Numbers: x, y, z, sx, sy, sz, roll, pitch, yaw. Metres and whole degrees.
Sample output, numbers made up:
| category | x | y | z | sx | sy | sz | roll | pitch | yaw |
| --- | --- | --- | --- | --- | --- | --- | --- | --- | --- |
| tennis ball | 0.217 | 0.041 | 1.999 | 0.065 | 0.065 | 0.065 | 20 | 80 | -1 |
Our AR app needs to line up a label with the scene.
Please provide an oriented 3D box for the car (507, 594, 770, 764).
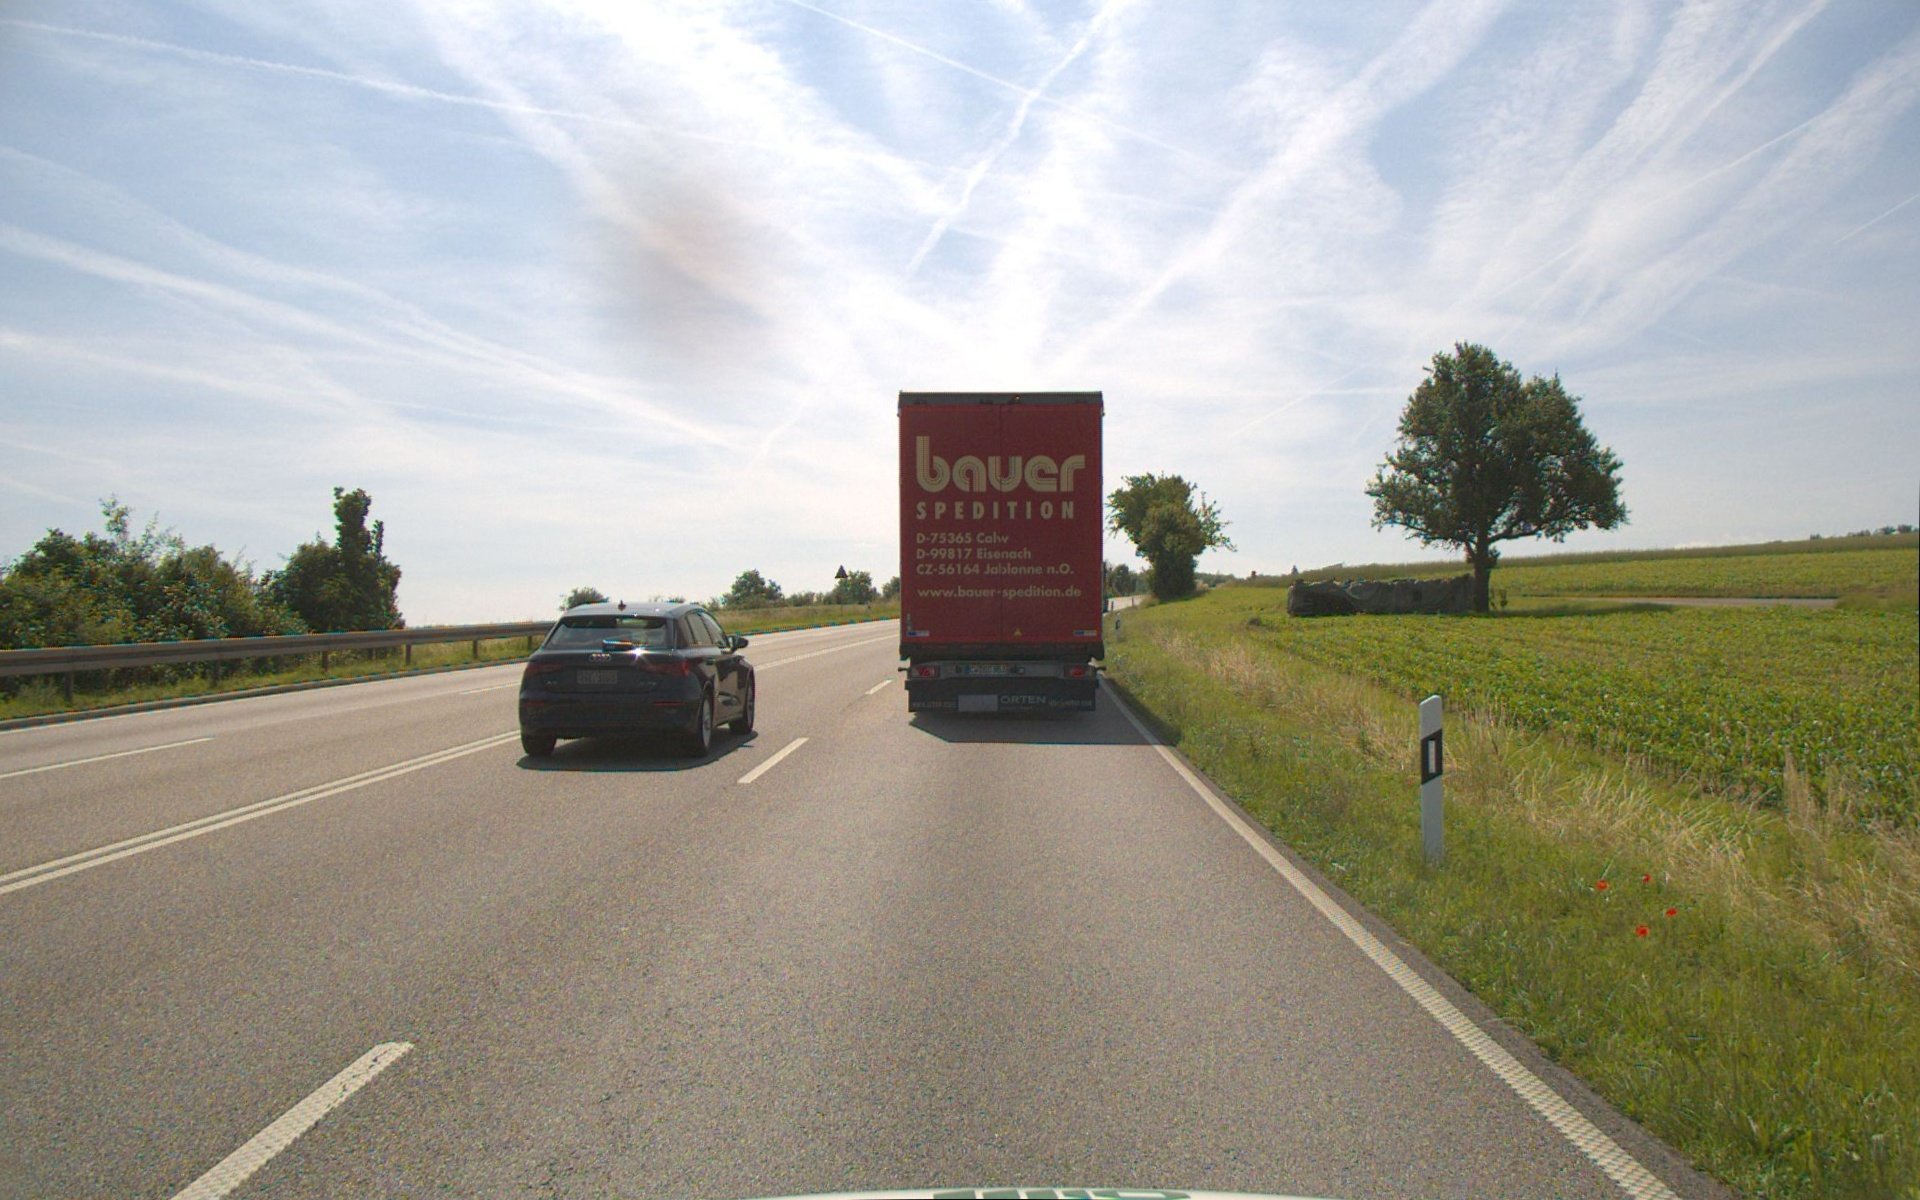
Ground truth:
| category | x | y | z | sx | sy | sz | roll | pitch | yaw |
| --- | --- | --- | --- | --- | --- | --- | --- | --- | --- |
| car | -3.122 | 0.694 | 17.037 | 1.670 | 1.498 | 4.812 | 0 | 0 | 1 |

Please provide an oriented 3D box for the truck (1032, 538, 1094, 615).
| category | x | y | z | sx | sy | sz | roll | pitch | yaw |
| --- | --- | --- | --- | --- | --- | --- | --- | --- | --- |
| truck | 6.008 | -1.274 | 94.031 | 2.982 | 3.978 | 15.625 | -1 | 0 | 5 |

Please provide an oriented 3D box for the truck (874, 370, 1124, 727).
| category | x | y | z | sx | sy | sz | roll | pitch | yaw |
| --- | --- | --- | --- | --- | --- | --- | --- | --- | --- |
| truck | 0.648 | -0.632 | 28.151 | 2.945 | 4.253 | 16.716 | 1 | 0 | 1 |

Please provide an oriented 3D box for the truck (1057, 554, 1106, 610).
| category | x | y | z | sx | sy | sz | roll | pitch | yaw |
| --- | --- | --- | --- | --- | --- | --- | --- | --- | --- |
| truck | 9.555 | -1.355 | 127.920 | 2.982 | 3.978 | 18.411 | -1 | 0 | 7 |
